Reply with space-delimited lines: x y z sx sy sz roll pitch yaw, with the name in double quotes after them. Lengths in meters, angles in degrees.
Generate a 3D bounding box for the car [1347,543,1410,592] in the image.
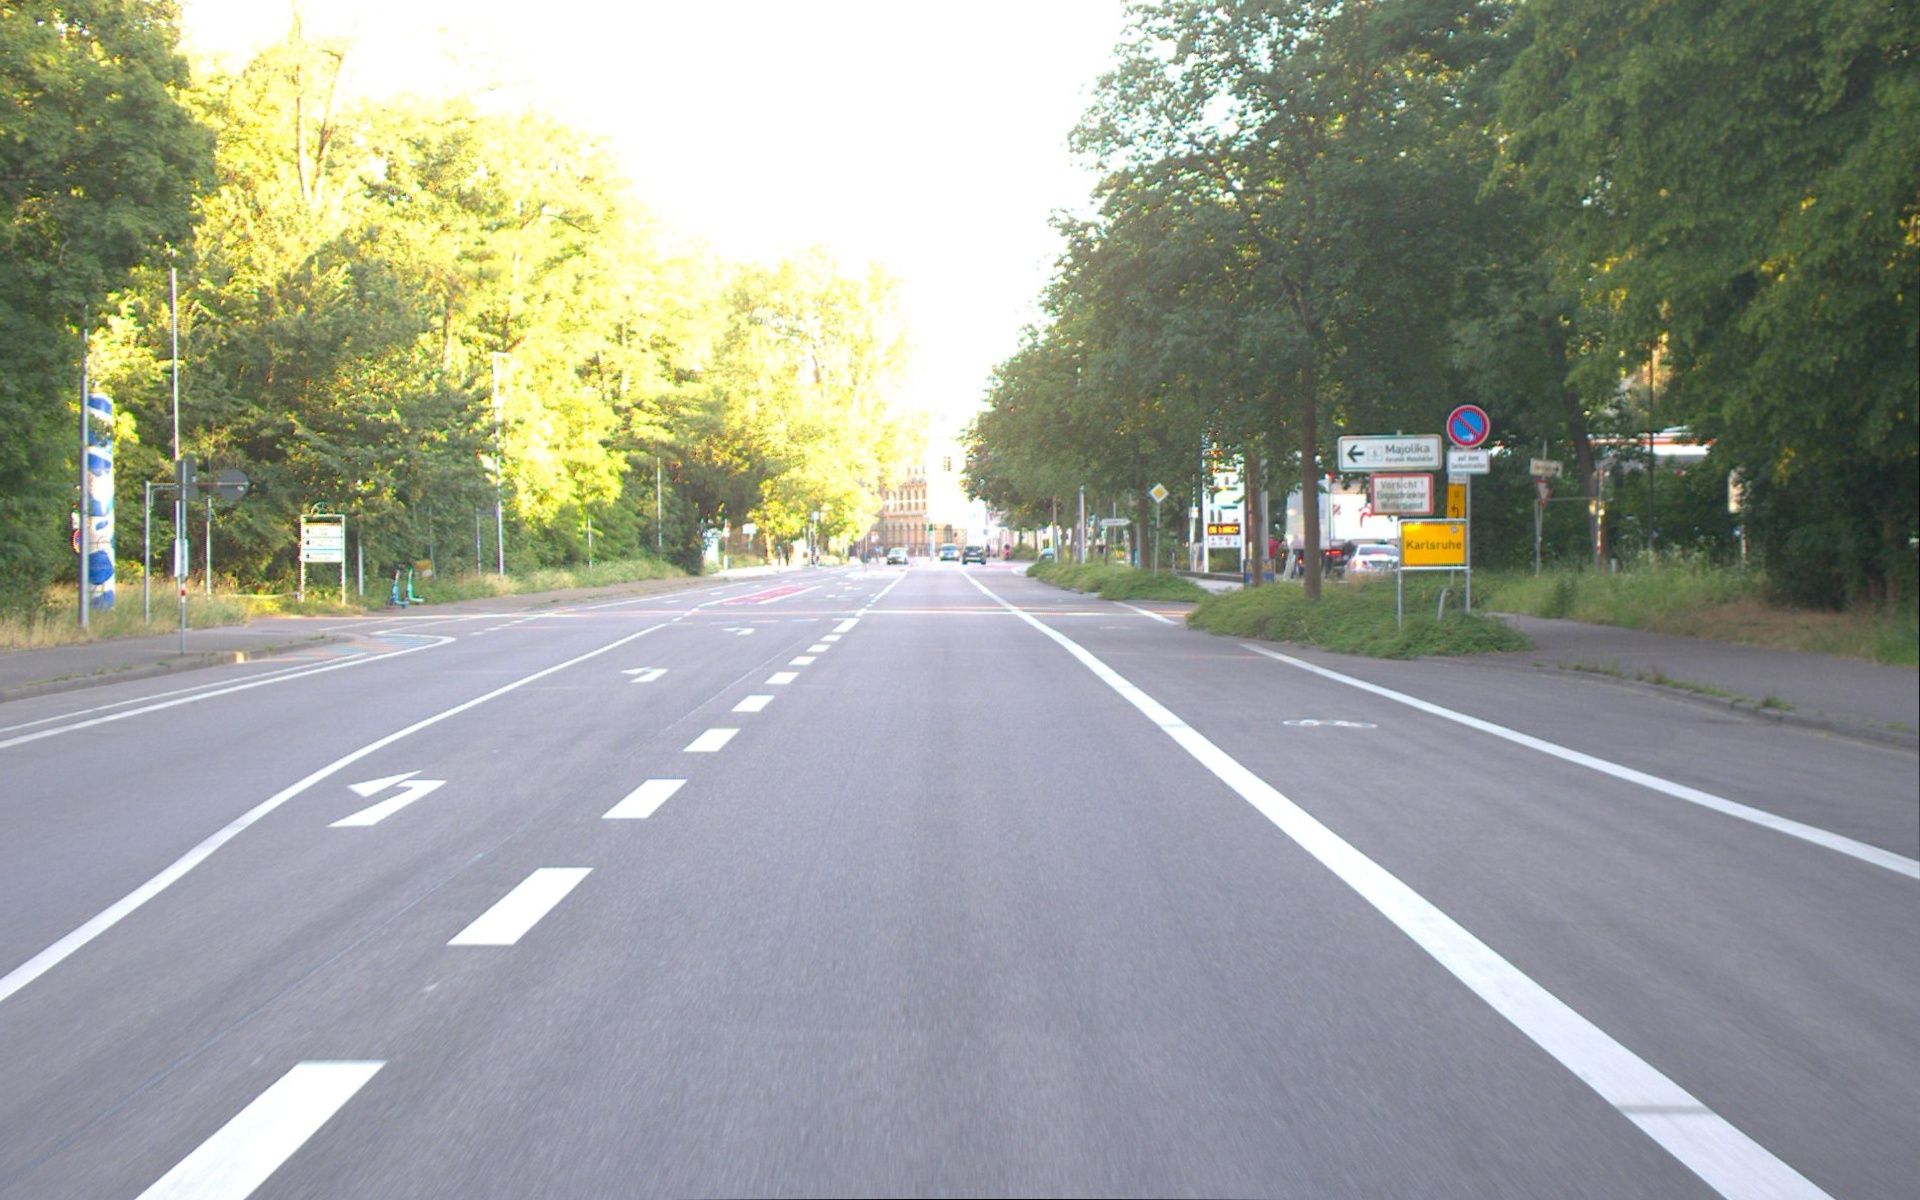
14.075 -1.113 115.734 1.770 1.578 4.818 1 1 3 "car"

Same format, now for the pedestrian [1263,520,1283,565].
12.589 -2.315 138.227 0.757 1.791 0.706 1 1 3 "pedestrian"

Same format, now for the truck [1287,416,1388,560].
14.786 -4.390 135.117 3.033 5.436 8.410 0 2 0 "truck"

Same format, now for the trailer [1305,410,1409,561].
14.748 -4.219 128.187 3.020 5.443 7.935 0 1 0 "trailer"

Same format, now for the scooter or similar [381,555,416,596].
-15.332 -0.660 93.890 0.361 1.106 0.877 0 1 42 "scooter or similar"
